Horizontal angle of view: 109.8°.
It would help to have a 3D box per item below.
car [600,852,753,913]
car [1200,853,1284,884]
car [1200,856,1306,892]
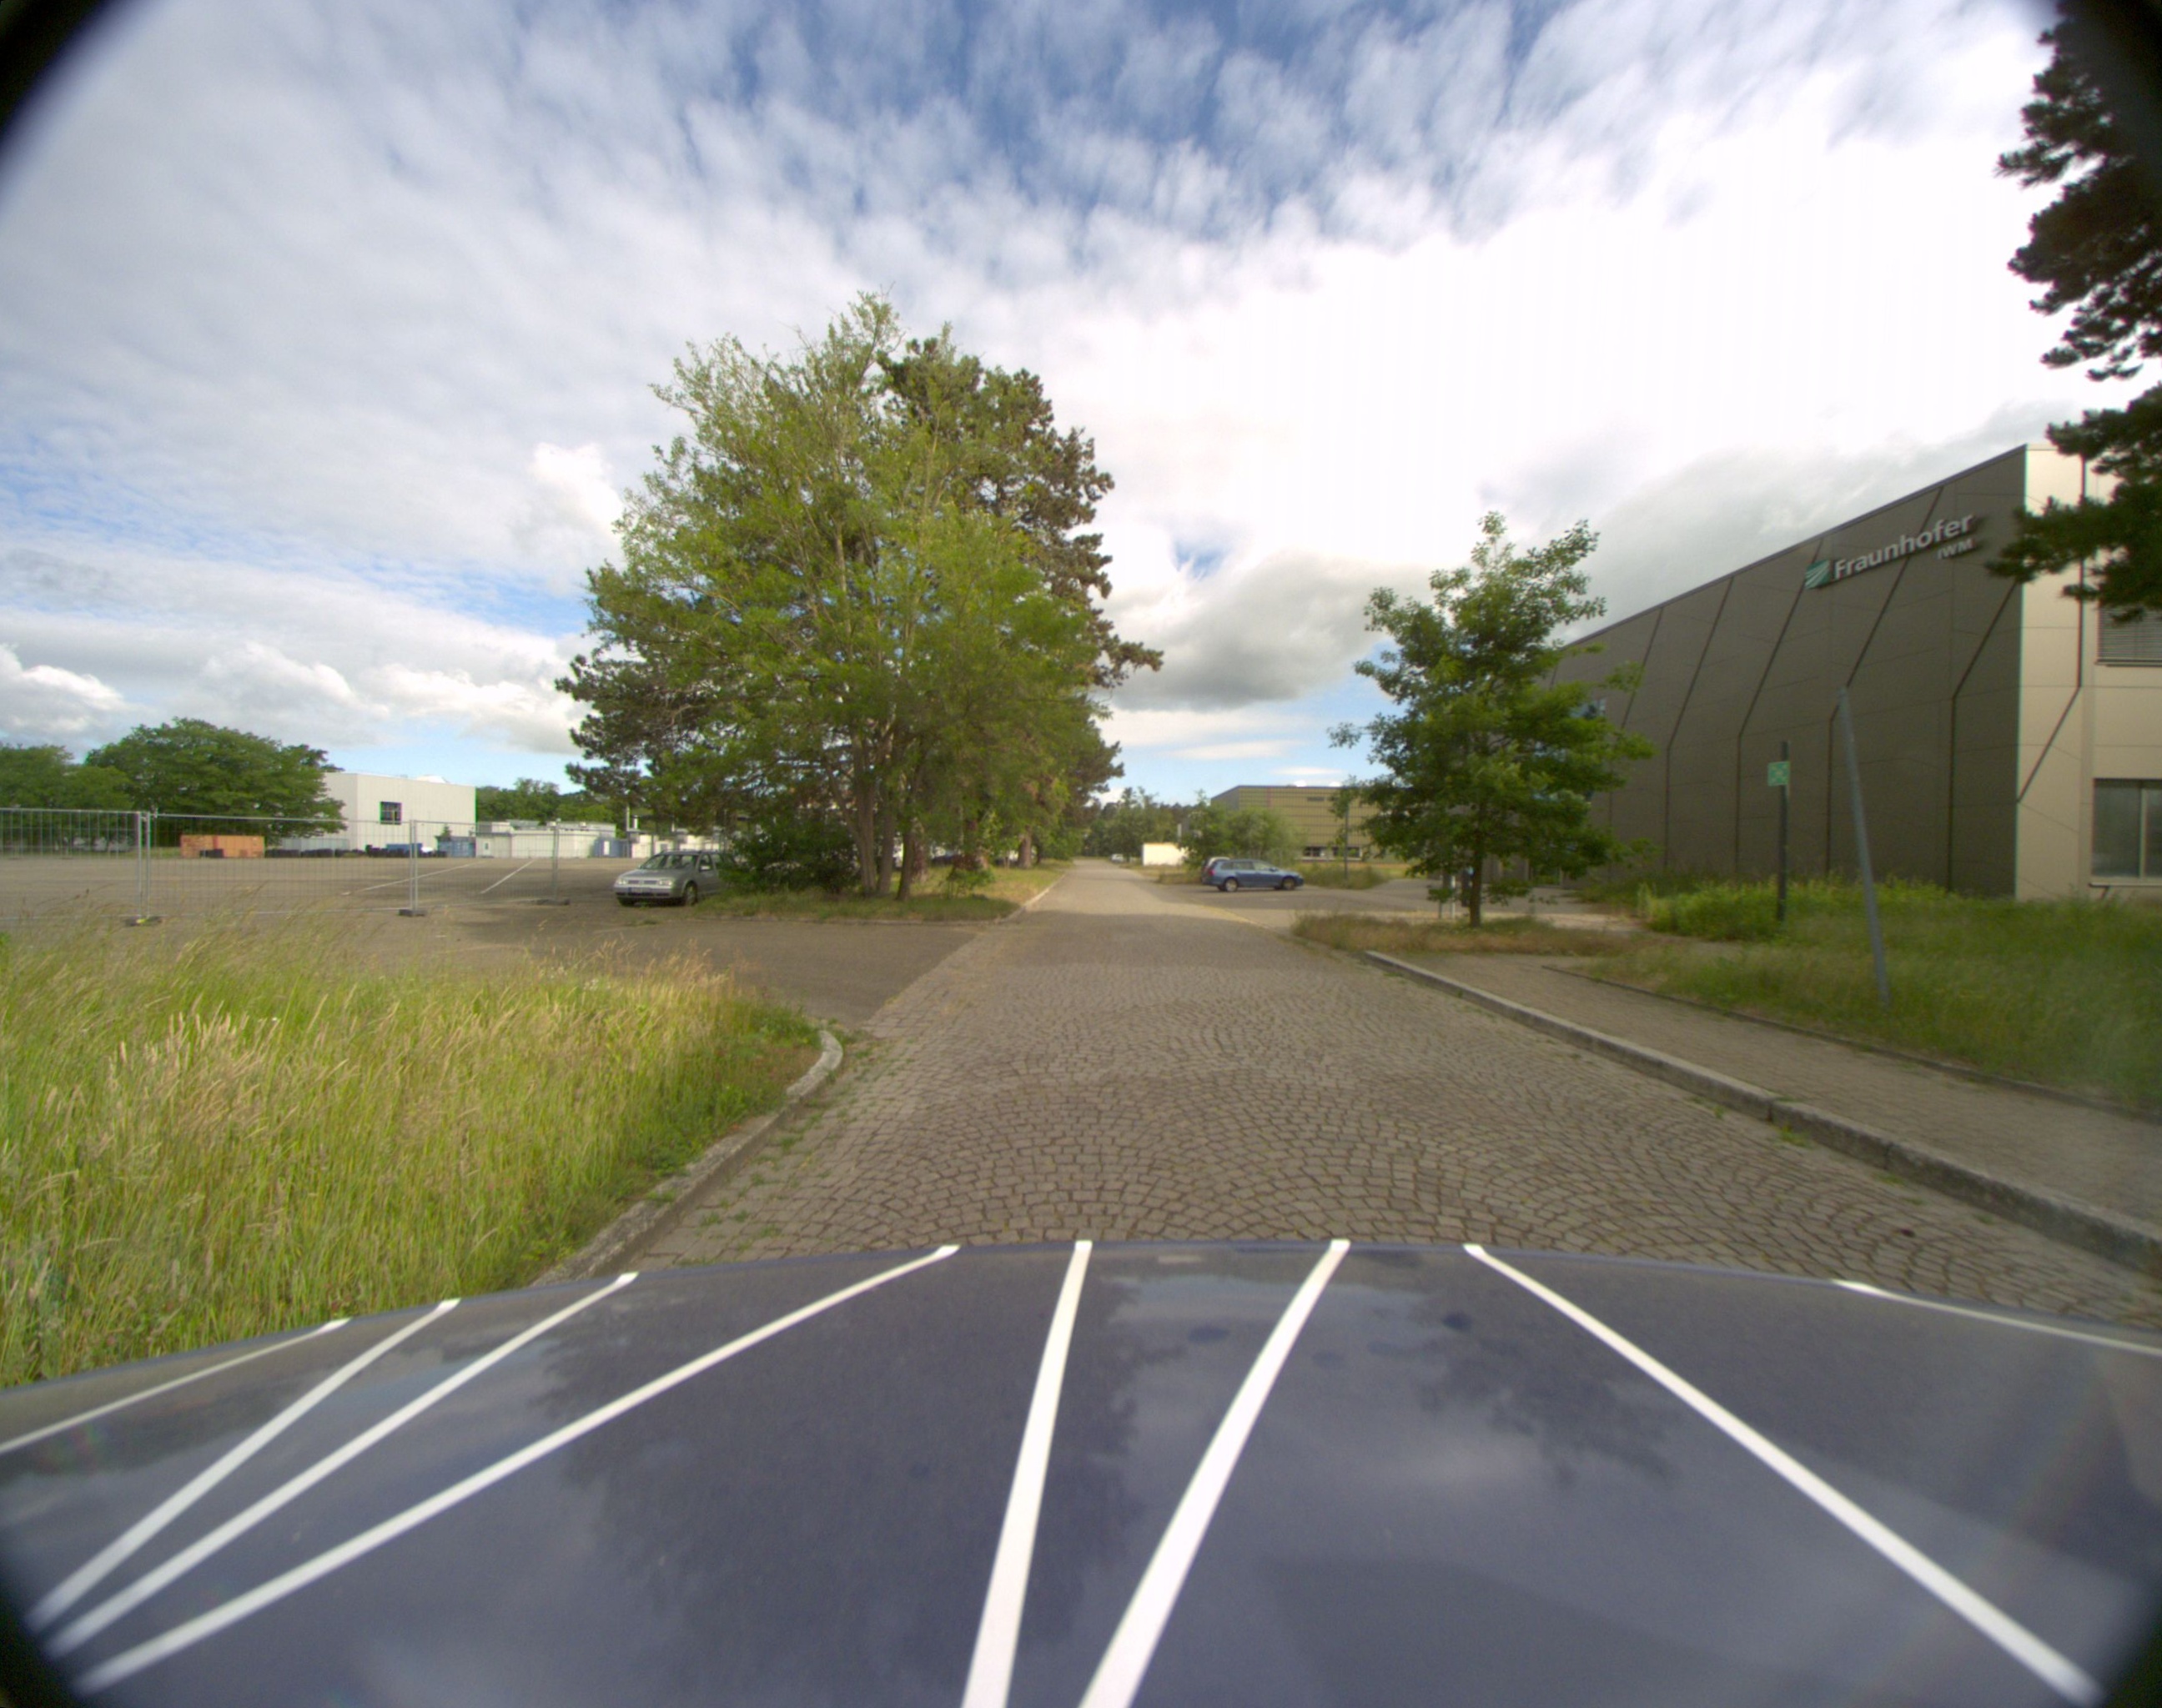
[{"bbox_3d":[-10.775,0.681,20.653,1.759,1.440,4.327,1,0,2],"label":"car"},{"bbox_3d":[8.899,0.798,42.283,4.400,1.537,1.842,-2,0,7],"label":"car"},{"bbox_3d":[7.870,0.900,34.983,4.404,1.501,1.716,-2,1,-2],"label":"car"}]
